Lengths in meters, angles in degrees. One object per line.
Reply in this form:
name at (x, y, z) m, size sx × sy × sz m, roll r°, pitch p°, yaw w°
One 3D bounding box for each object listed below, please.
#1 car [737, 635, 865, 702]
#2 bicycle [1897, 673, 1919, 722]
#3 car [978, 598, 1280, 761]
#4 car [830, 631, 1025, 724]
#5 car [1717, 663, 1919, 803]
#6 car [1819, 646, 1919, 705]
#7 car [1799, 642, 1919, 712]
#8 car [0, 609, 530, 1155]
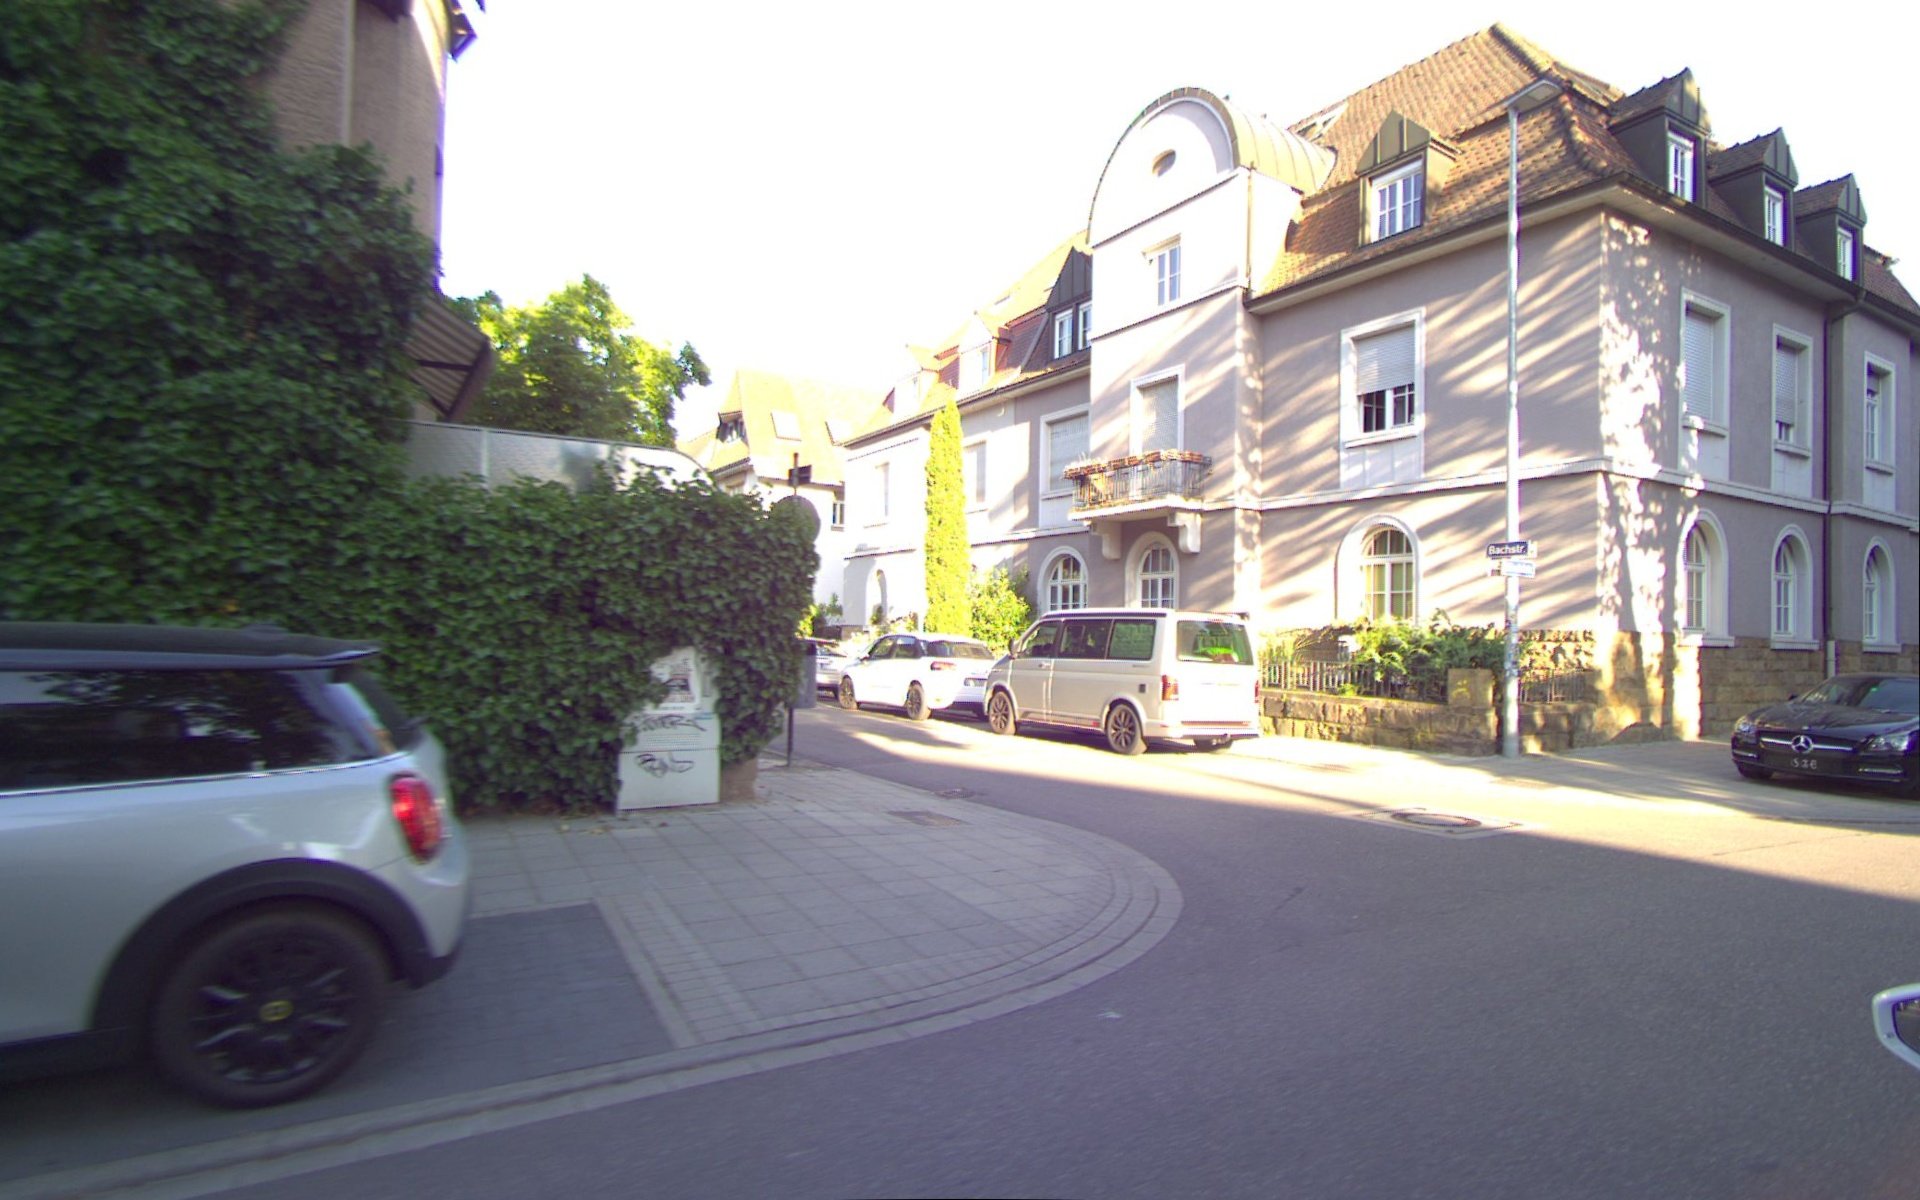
car at (-4.106, 1.681, 25.458) m, size 1.648 × 1.487 × 4.162 m, roll 5°, pitch -4°, yaw -32°
bicycle at (19.765, 1.976, 20.565) m, size 1.702 × 0.949 × 0.392 m, roll 2°, pitch -2°, yaw -31°
car at (2.323, 1.113, 14.966) m, size 1.979 × 2.039 × 4.376 m, roll 5°, pitch -4°, yaw -32°
car at (-0.770, 1.487, 20.076) m, size 1.979 × 1.608 × 4.268 m, roll 5°, pitch -4°, yaw -32°
car at (11.020, 1.485, 11.995) m, size 3.995 × 1.341 × 1.647 m, roll 2°, pitch -1°, yaw -28°
car at (25.547, 2.021, 26.712) m, size 1.618 × 1.462 × 3.840 m, roll 1°, pitch -1°, yaw -33°
car at (23.851, 1.926, 25.297) m, size 1.878 × 1.643 × 3.840 m, roll 1°, pitch -1°, yaw -33°
car at (-3.572, 0.774, 3.221) m, size 3.870 × 1.480 × 1.696 m, roll 2°, pitch -1°, yaw -29°
